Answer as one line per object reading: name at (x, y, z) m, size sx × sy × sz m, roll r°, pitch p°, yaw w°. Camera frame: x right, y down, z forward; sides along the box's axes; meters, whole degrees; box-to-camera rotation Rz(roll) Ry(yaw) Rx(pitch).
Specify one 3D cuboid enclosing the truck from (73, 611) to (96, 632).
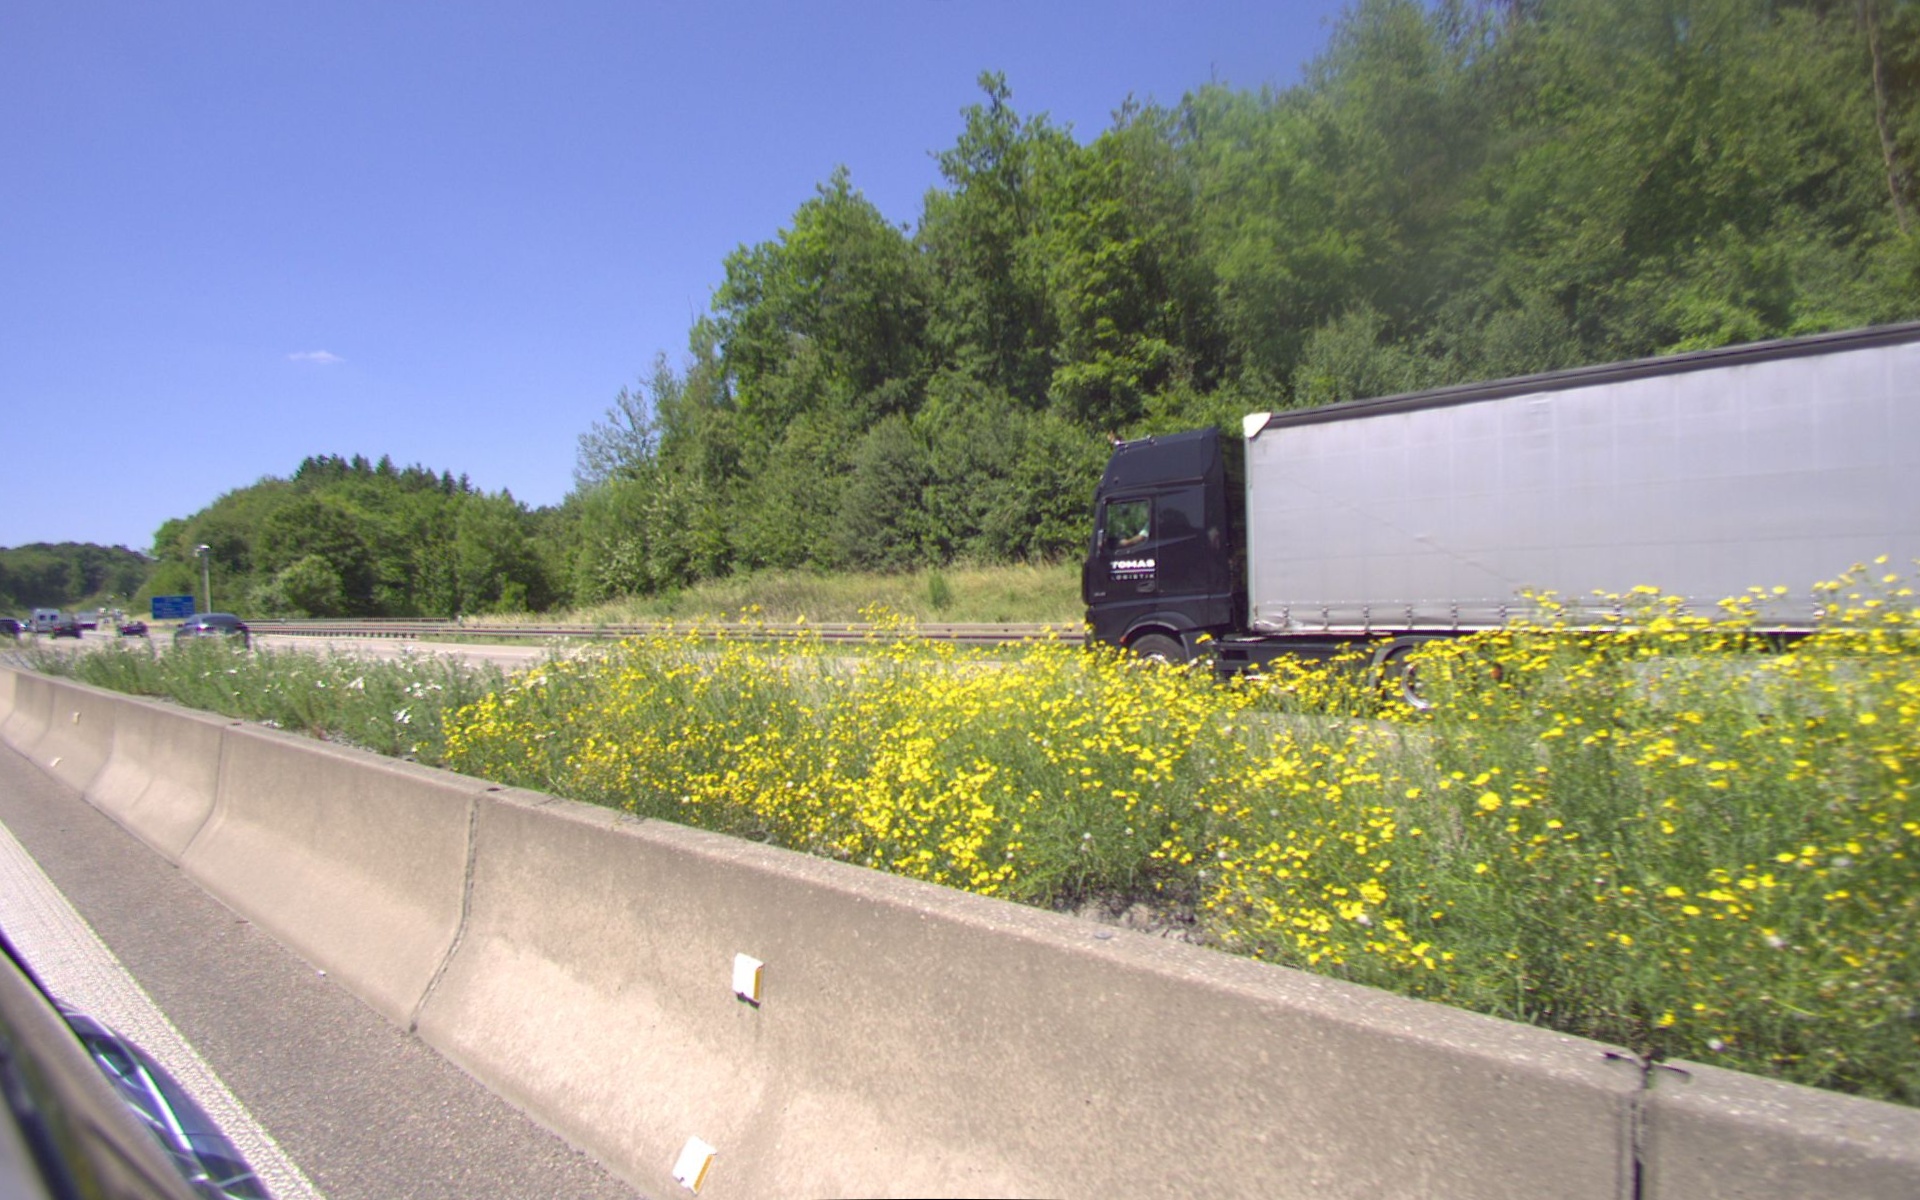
truck at (-152.648, 3.737, 176.356) m, size 2.703 × 3.501 × 7.321 m, roll -1°, pitch -1°, yaw -43°

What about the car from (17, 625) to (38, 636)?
car at (-129.236, 4.236, 140.233) m, size 4.234 × 1.431 × 1.822 m, roll -2°, pitch -1°, yaw 43°

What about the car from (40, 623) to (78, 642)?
car at (-70.977, 2.551, 79.711) m, size 4.270 × 1.412 × 1.794 m, roll -2°, pitch -1°, yaw 42°

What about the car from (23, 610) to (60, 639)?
car at (-90.872, 2.410, 100.121) m, size 6.062 × 2.722 × 2.191 m, roll -1°, pitch 0°, yaw 43°

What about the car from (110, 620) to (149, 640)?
car at (-65.518, 2.390, 79.797) m, size 3.999 × 1.464 × 1.820 m, roll -2°, pitch -1°, yaw 42°

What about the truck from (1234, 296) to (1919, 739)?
truck at (9.789, -0.755, 9.913) m, size 13.731 × 3.968 × 2.801 m, roll -2°, pitch -1°, yaw 39°

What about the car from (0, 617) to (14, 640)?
car at (-75.494, 2.255, 79.071) m, size 4.356 × 1.737 × 1.972 m, roll -2°, pitch -1°, yaw 42°

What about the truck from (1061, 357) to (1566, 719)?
truck at (4.719, -0.635, 14.093) m, size 6.000 × 3.969 × 2.801 m, roll -2°, pitch -1°, yaw 39°

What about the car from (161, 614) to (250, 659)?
car at (-30.033, 1.429, 40.231) m, size 4.473 × 1.640 × 1.972 m, roll -1°, pitch 0°, yaw 42°
